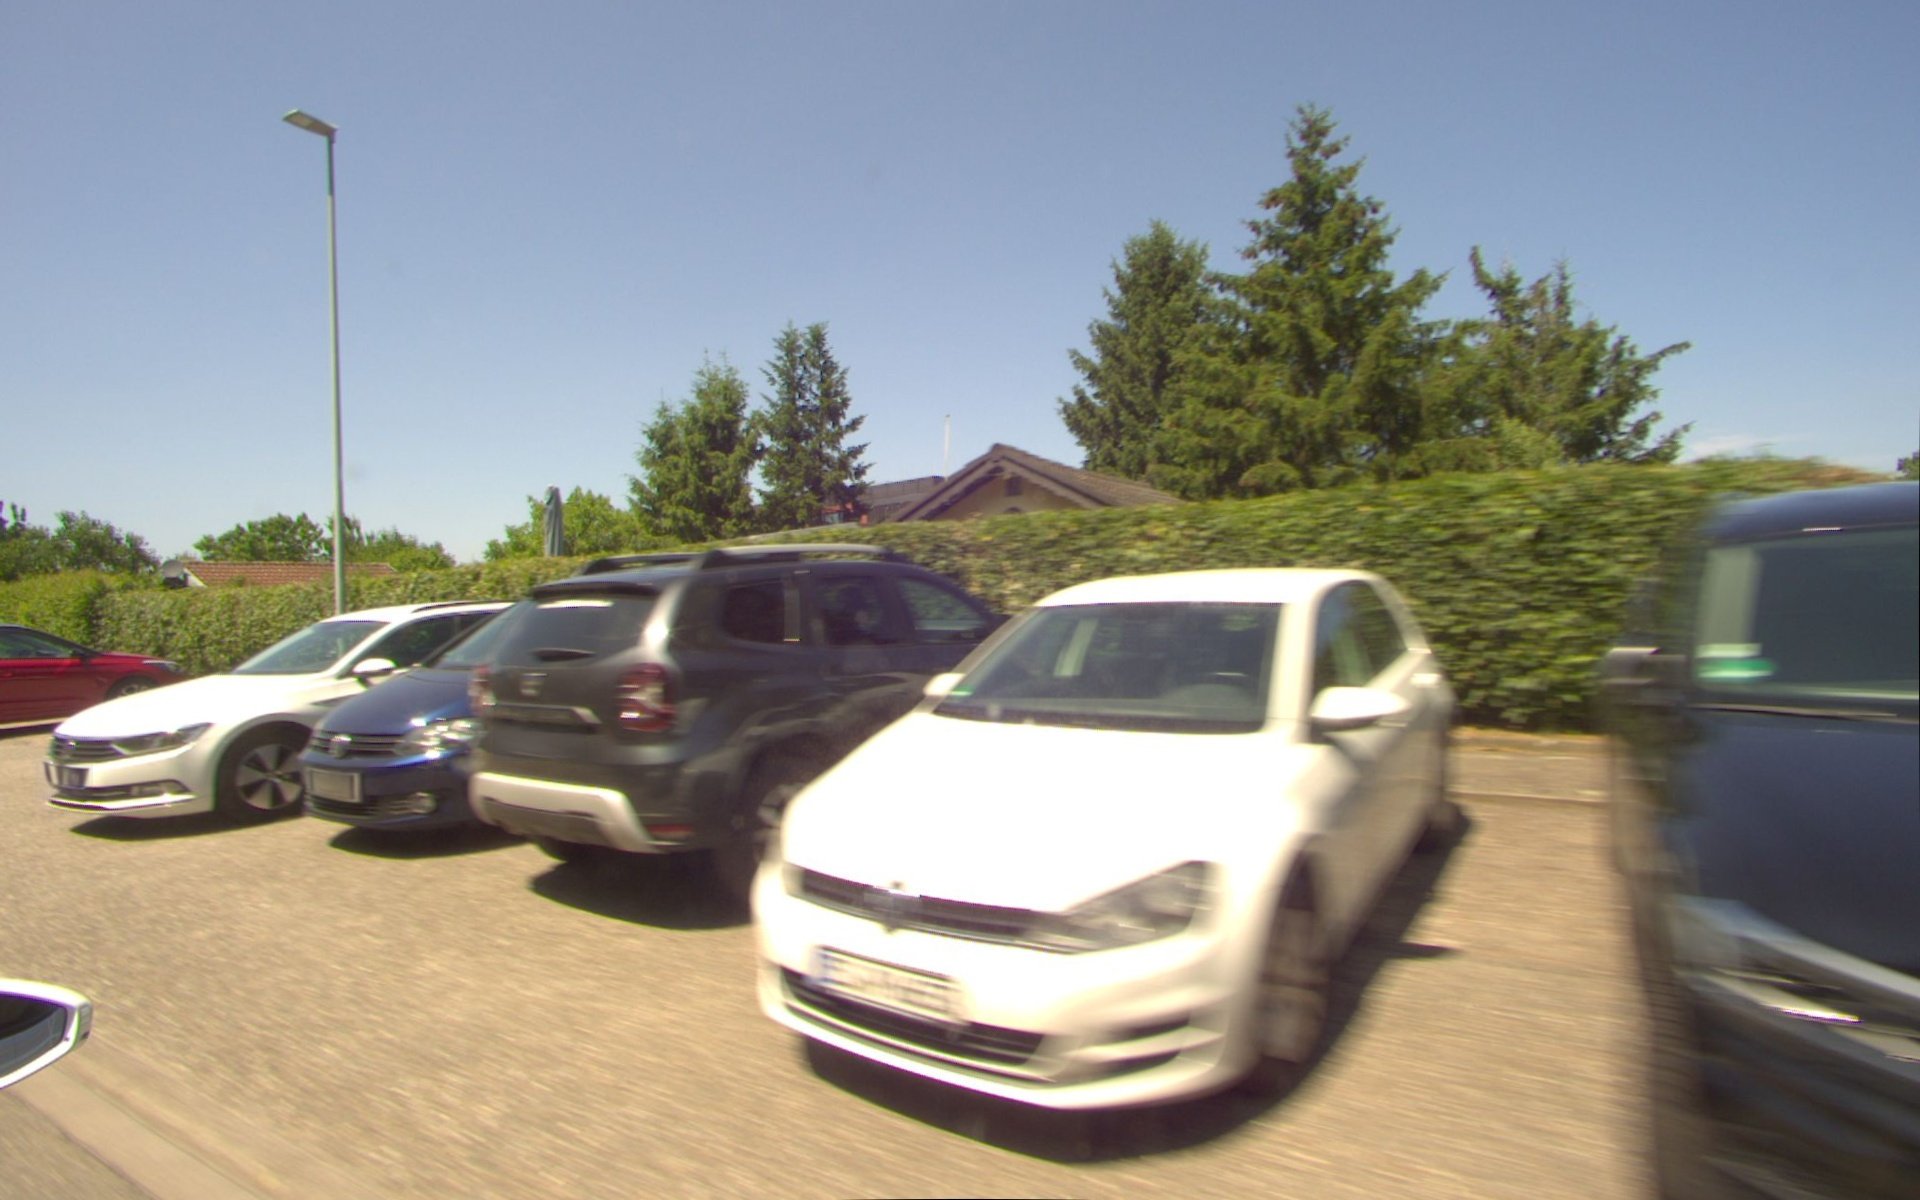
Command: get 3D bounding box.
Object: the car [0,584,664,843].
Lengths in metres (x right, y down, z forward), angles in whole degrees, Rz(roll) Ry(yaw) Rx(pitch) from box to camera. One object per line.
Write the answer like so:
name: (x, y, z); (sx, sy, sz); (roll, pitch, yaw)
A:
car: (-4.954, 0.691, 8.574); (1.932, 1.459, 4.550); (-2, 2, 29)

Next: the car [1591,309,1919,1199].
car: (2.953, 0.357, 2.866); (1.887, 1.727, 4.458); (-2, 2, 32)

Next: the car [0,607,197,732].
car: (-12.996, 0.955, 13.480); (1.819, 1.499, 3.907); (-2, 2, 33)

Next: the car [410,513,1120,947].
car: (-0.758, 0.450, 6.231); (1.828, 1.721, 4.244); (-2, 2, 34)

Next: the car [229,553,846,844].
car: (-2.782, 0.476, 7.590); (1.732, 1.570, 4.041); (-2, 2, 29)

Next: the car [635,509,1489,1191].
car: (0.886, 0.492, 4.288); (1.809, 1.472, 3.980); (-2, 1, 37)

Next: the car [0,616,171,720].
car: (-14.967, 1.088, 15.263); (1.815, 1.407, 4.192); (-2, 2, 32)
